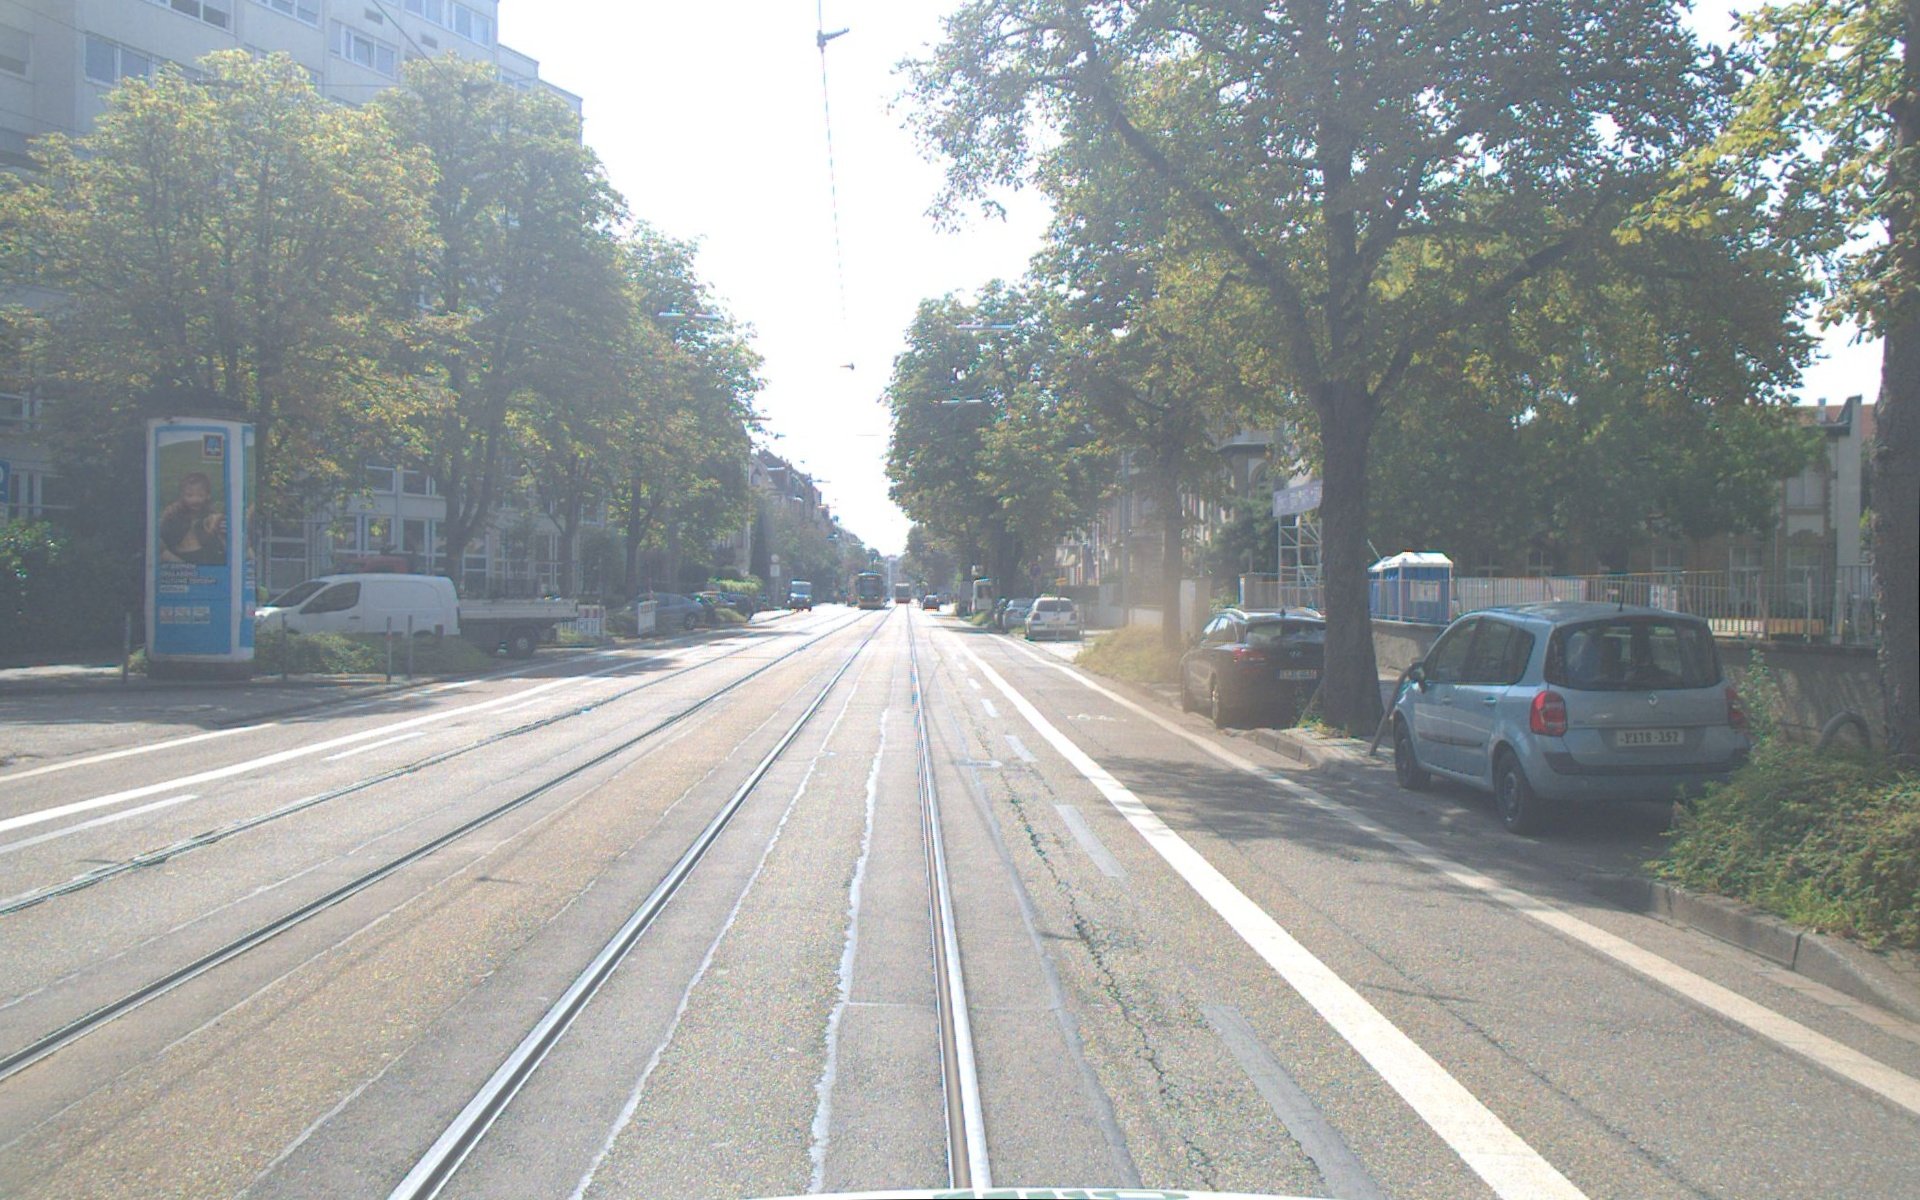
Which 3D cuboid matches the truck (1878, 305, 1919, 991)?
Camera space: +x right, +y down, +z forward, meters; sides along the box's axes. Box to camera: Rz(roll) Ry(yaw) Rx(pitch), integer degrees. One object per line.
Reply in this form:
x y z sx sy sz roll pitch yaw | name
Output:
4.773 0.202 3.894 1.878 2.644 5.589 1 0 -3 | truck

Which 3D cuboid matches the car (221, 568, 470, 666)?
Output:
-11.967 0.294 32.385 1.795 1.803 4.255 1 1 44 | car

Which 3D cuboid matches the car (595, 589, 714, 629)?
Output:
-12.149 0.333 66.005 1.646 1.477 4.662 1 2 41 | car

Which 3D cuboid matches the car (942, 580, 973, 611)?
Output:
-0.204 -0.372 124.759 1.955 2.272 3.994 0 0 -7 | car

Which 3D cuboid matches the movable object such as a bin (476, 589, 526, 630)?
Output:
-18.154 0.361 65.431 1.649 1.586 1.353 0 0 -3 | movable object such as a bin

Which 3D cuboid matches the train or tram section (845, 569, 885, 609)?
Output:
-9.392 -1.173 164.686 3.426 3.769 12.410 1 1 -1 | train or tram section

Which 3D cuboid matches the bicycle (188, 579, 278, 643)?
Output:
-18.866 0.278 42.916 2.289 1.552 0.602 2 0 18 | bicycle

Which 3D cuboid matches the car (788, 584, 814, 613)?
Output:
-14.110 -0.120 146.689 2.198 2.484 3.996 1 0 -5 | car

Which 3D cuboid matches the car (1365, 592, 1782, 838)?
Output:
4.632 0.766 13.192 1.640 1.607 4.170 -1 0 -2 | car

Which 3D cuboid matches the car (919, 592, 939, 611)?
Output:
-3.119 0.148 164.276 1.953 1.832 3.999 1 0 -2 | car

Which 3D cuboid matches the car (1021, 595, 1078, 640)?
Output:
3.009 0.563 56.292 1.754 1.471 3.733 -1 0 0 | car

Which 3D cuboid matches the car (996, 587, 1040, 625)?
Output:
2.405 0.246 69.701 1.607 1.538 3.640 1 0 -2 | car

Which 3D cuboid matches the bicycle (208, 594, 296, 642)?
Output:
-18.661 0.468 43.591 2.289 1.189 0.602 2 0 18 | bicycle

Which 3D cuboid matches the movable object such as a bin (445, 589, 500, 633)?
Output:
-17.906 0.384 60.809 1.649 1.586 1.353 0 0 -3 | movable object such as a bin

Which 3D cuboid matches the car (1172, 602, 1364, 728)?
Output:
4.121 0.808 22.840 1.640 1.483 4.662 0 1 -2 | car

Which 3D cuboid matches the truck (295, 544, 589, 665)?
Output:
-11.358 0.075 36.614 5.916 2.477 2.119 0 0 -42 | truck

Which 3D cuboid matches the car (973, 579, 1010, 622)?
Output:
1.858 0.022 97.567 1.953 2.407 3.999 1 0 -2 | car

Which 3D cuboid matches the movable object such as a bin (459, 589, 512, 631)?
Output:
-17.895 0.368 62.408 1.649 1.586 1.353 0 0 -3 | movable object such as a bin

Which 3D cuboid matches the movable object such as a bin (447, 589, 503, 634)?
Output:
-17.414 0.393 59.395 1.649 1.586 1.353 0 0 -3 | movable object such as a bin

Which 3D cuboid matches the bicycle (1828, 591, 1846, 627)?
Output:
33.447 0.344 63.087 0.595 1.325 2.170 1 0 28 | bicycle

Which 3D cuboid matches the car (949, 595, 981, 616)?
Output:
0.367 0.396 117.663 1.954 1.422 3.996 0 1 -5 | car
